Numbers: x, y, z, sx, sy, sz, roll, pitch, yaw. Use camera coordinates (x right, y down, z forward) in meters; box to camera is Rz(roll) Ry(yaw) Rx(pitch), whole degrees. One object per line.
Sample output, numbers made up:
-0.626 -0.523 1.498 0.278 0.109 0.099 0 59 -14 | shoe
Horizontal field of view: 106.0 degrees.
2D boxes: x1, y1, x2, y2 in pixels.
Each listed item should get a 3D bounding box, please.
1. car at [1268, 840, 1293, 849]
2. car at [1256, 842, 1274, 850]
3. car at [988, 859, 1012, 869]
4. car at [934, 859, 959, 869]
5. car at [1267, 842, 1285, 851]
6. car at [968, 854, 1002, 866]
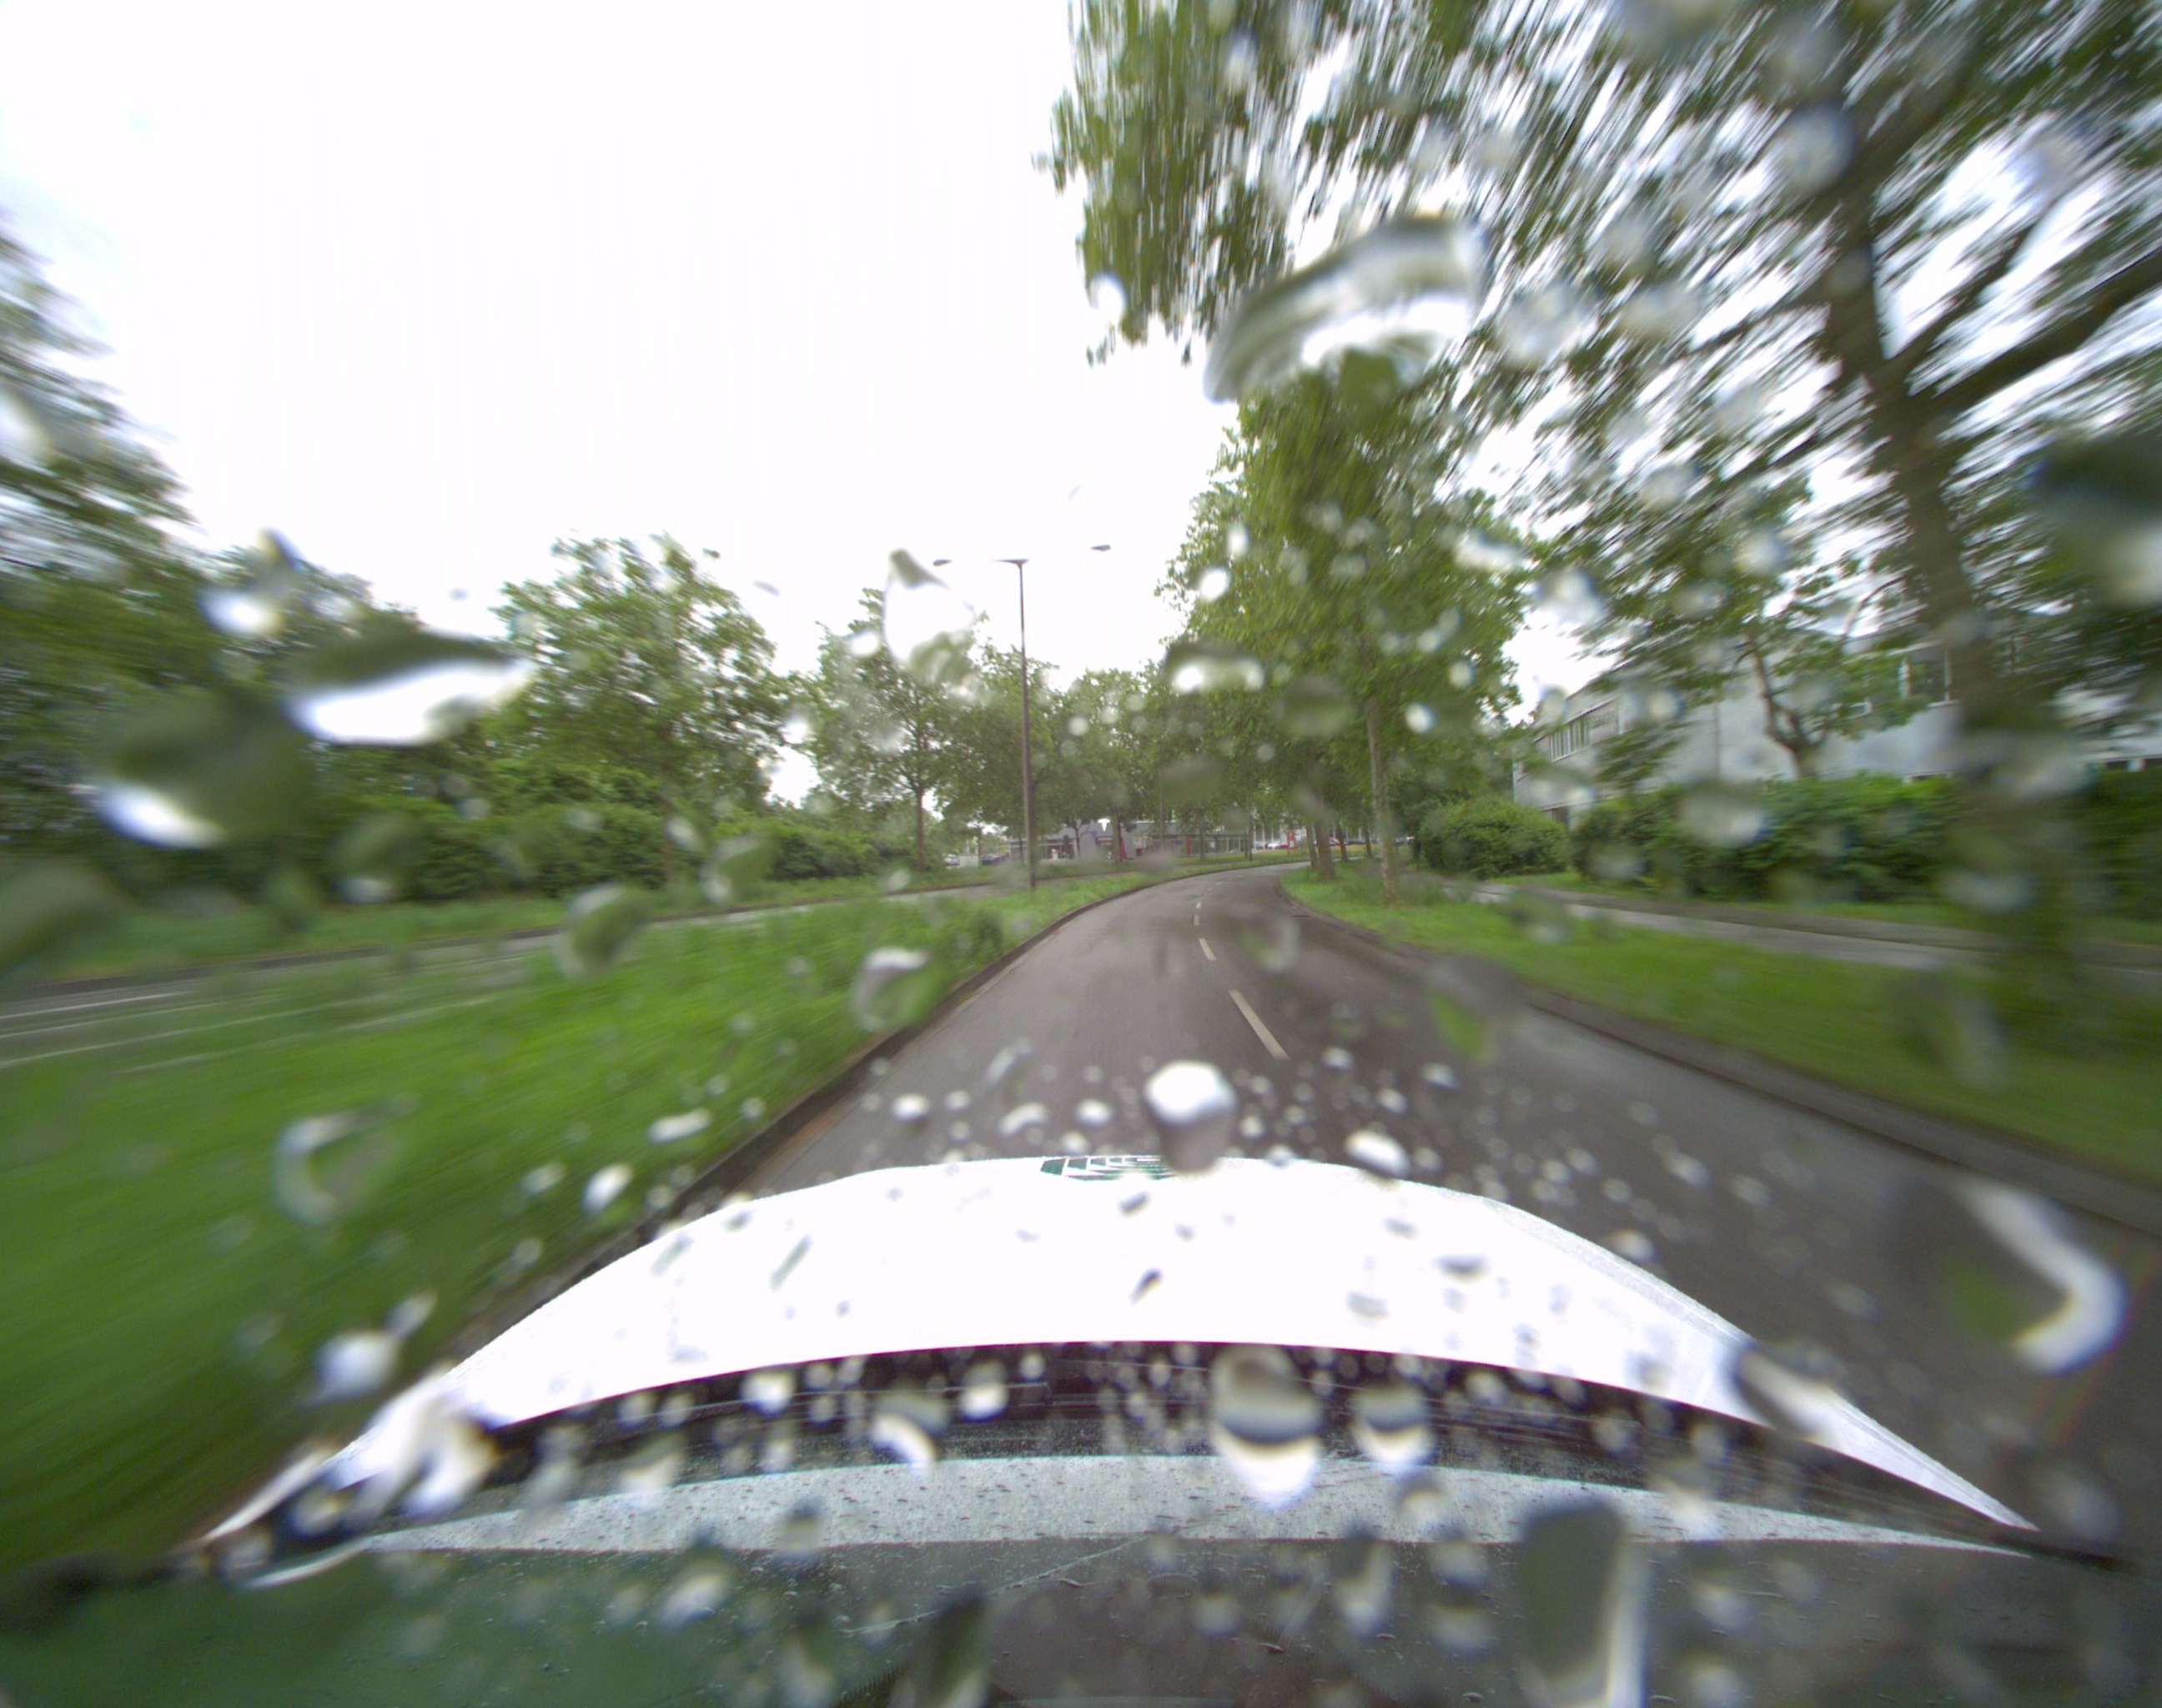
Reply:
40.676 -1.932 166.419 4.632 1.764 1.817 -1 2 -6 | car
35.842 -1.520 158.548 1.746 1.396 4.184 0 3 39 | car
-12.611 1.528 126.450 3.286 1.494 1.602 -2 0 9 | car
-22.144 1.588 133.884 3.738 1.494 1.602 -2 0 9 | car
37.642 -1.459 157.059 1.746 1.396 4.184 0 3 39 | car
-12.806 0.769 108.906 4.166 1.494 1.602 -2 0 9 | car
